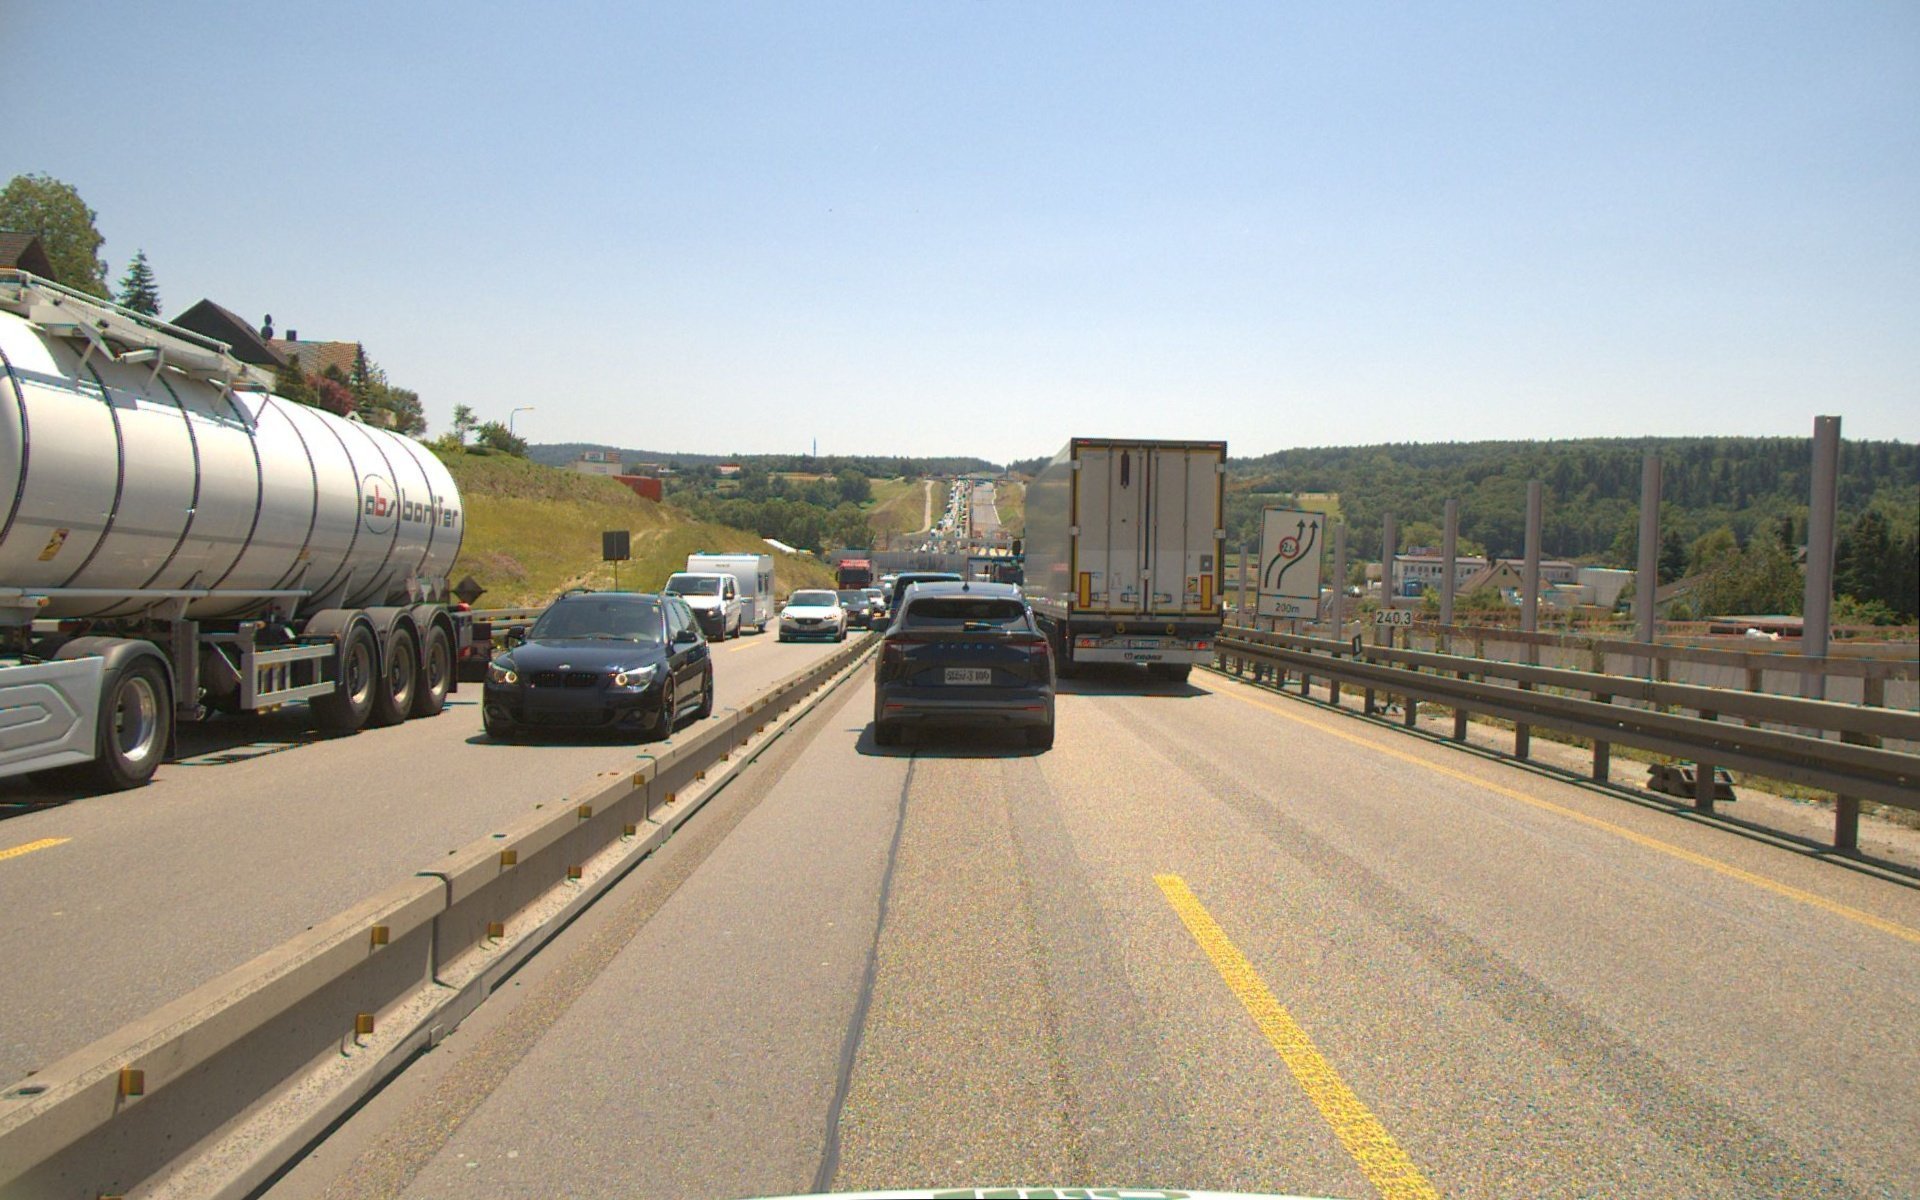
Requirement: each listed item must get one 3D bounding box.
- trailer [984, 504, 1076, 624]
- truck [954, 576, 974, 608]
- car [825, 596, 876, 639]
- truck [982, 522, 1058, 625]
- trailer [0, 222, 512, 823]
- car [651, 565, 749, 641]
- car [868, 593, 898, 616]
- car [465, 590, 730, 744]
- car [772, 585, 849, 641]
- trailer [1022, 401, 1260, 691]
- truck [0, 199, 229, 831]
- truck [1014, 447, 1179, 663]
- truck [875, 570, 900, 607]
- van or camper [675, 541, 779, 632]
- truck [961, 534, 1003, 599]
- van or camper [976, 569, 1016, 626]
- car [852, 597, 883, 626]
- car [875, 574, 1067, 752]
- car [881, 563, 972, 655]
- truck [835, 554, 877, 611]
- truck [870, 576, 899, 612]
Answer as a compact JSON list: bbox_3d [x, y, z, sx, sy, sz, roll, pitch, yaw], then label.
[{"bbox_3d":[2.807,-1.273,71.456,3.115,4.592,14.963,1,-1,-1],"label":"trailer"},{"bbox_3d":[0.496,-1.089,232.389,2.586,4.267,9.282,1,-1,-1],"label":"truck"},{"bbox_3d":[-3.910,0.611,59.385,1.632,1.438,3.816,1,0,-2],"label":"car"},{"bbox_3d":[2.751,-1.134,78.426,3.116,4.592,8.163,1,-1,-1],"label":"truck"},{"bbox_3d":[-7.176,-0.535,15.938,2.661,3.657,11.792,1,0,-1],"label":"trailer"},{"bbox_3d":[-7.298,0.062,46.918,1.953,2.005,5.342,1,0,0],"label":"car"},{"bbox_3d":[-5.363,0.275,115.370,1.953,1.557,3.999,1,0,-1],"label":"car"},{"bbox_3d":[-3.765,0.623,18.040,1.856,1.439,4.679,0,0,0],"label":"car"},{"bbox_3d":[-4.252,0.347,47.713,1.874,1.506,4.635,1,0,-1],"label":"car"},{"bbox_3d":[3.159,-0.935,33.124,3.115,4.591,13.107,1,1,-1],"label":"trailer"},{"bbox_3d":[-7.038,-0.517,9.732,2.722,3.737,6.276,1,0,-1],"label":"truck"},{"bbox_3d":[3.076,-1.007,39.604,3.116,4.591,8.165,1,1,-1],"label":"truck"},{"bbox_3d":[-9.129,-1.380,209.143,2.794,4.414,11.913,1,-1,-1],"label":"truck"},{"bbox_3d":[-7.425,-0.430,53.504,2.309,2.723,7.857,1,0,-1],"label":"van or camper"},{"bbox_3d":[1.619,-2.498,128.325,2.794,4.543,11.913,1,-1,-1],"label":"truck"},{"bbox_3d":[2.210,-0.076,101.770,2.339,3.338,6.469,1,-1,1],"label":"van or camper"},{"bbox_3d":[-5.235,0.633,93.877,1.756,1.545,3.997,0,0,-3],"label":"car"},{"bbox_3d":[0.104,0.601,17.440,1.765,1.635,4.000,1,0,0],"label":"car"},{"bbox_3d":[-0.756,0.225,38.253,1.953,1.959,4.506,1,-1,-1],"label":"car"},{"bbox_3d":[-8.336,-1.307,134.236,2.794,4.212,11.913,1,-1,-1],"label":"truck"},{"bbox_3d":[-8.442,-0.605,185.845,2.794,3.849,11.913,1,-1,-1],"label":"truck"}]
